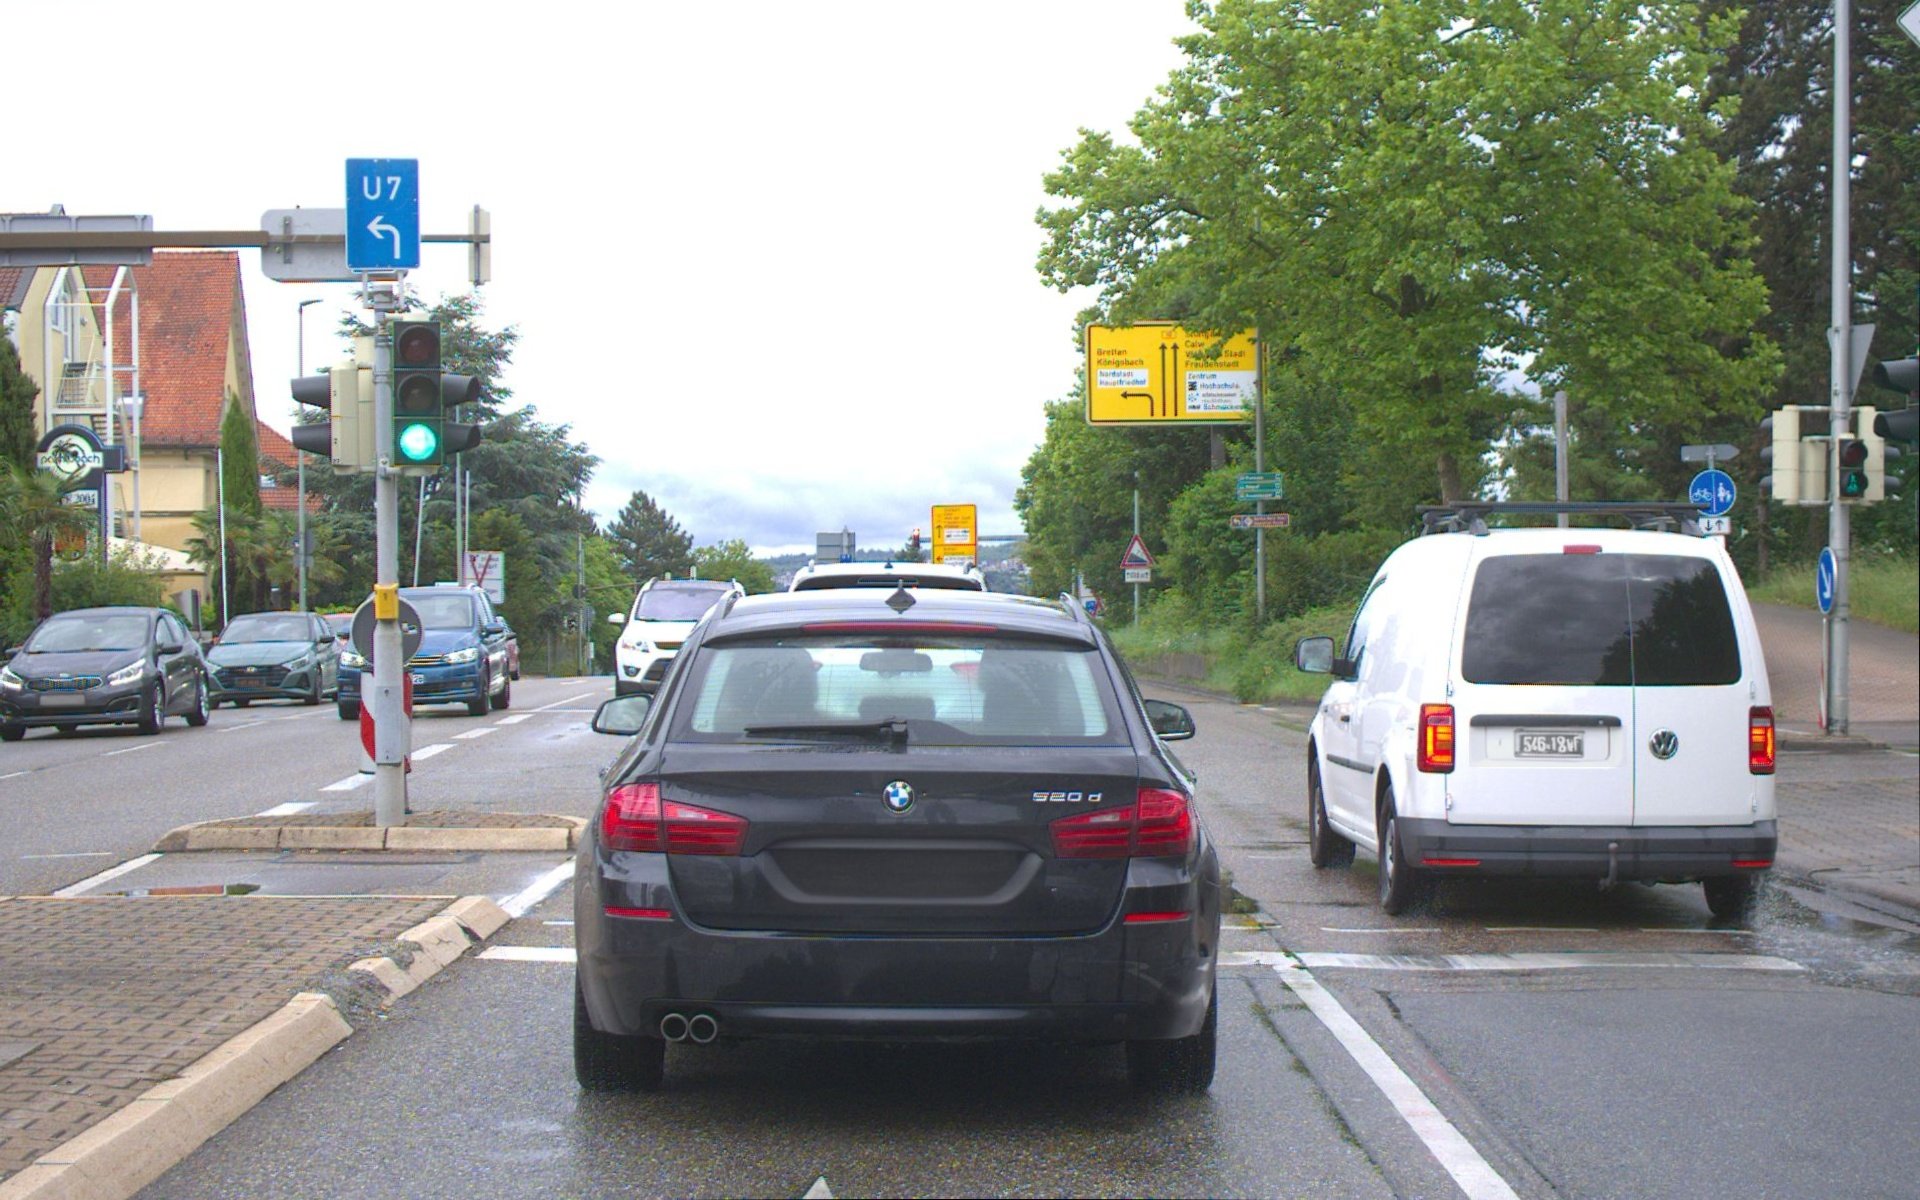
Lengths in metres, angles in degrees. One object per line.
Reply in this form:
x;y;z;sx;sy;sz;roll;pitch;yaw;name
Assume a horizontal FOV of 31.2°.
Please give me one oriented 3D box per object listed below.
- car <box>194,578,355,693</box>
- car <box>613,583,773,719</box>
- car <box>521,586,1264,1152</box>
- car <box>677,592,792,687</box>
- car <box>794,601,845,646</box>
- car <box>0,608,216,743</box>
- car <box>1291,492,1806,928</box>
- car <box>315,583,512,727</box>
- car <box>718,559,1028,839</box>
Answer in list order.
-10.398;0.514;52.376;1.676;1.612;4.000;-1;1;-1;car
-3.410;0.618;44.553;1.839;1.644;4.297;0;0;-1;car
-0.183;0.712;10.852;1.899;1.437;4.000;1;-1;0;car
-3.524;0.631;54.200;1.632;1.429;4.144;0;-1;-1;car
-5.543;0.934;135.820;1.868;1.668;4.000;1;1;0;car
-9.901;0.829;39.410;1.917;1.375;4.126;-2;1;-2;car
2.736;0.449;16.811;1.764;1.871;3.805;1;1;-1;car
-6.797;0.644;43.126;1.839;1.644;4.297;-2;0;-1;car
-0.539;0.579;22.915;1.868;1.668;4.000;1;1;0;car
